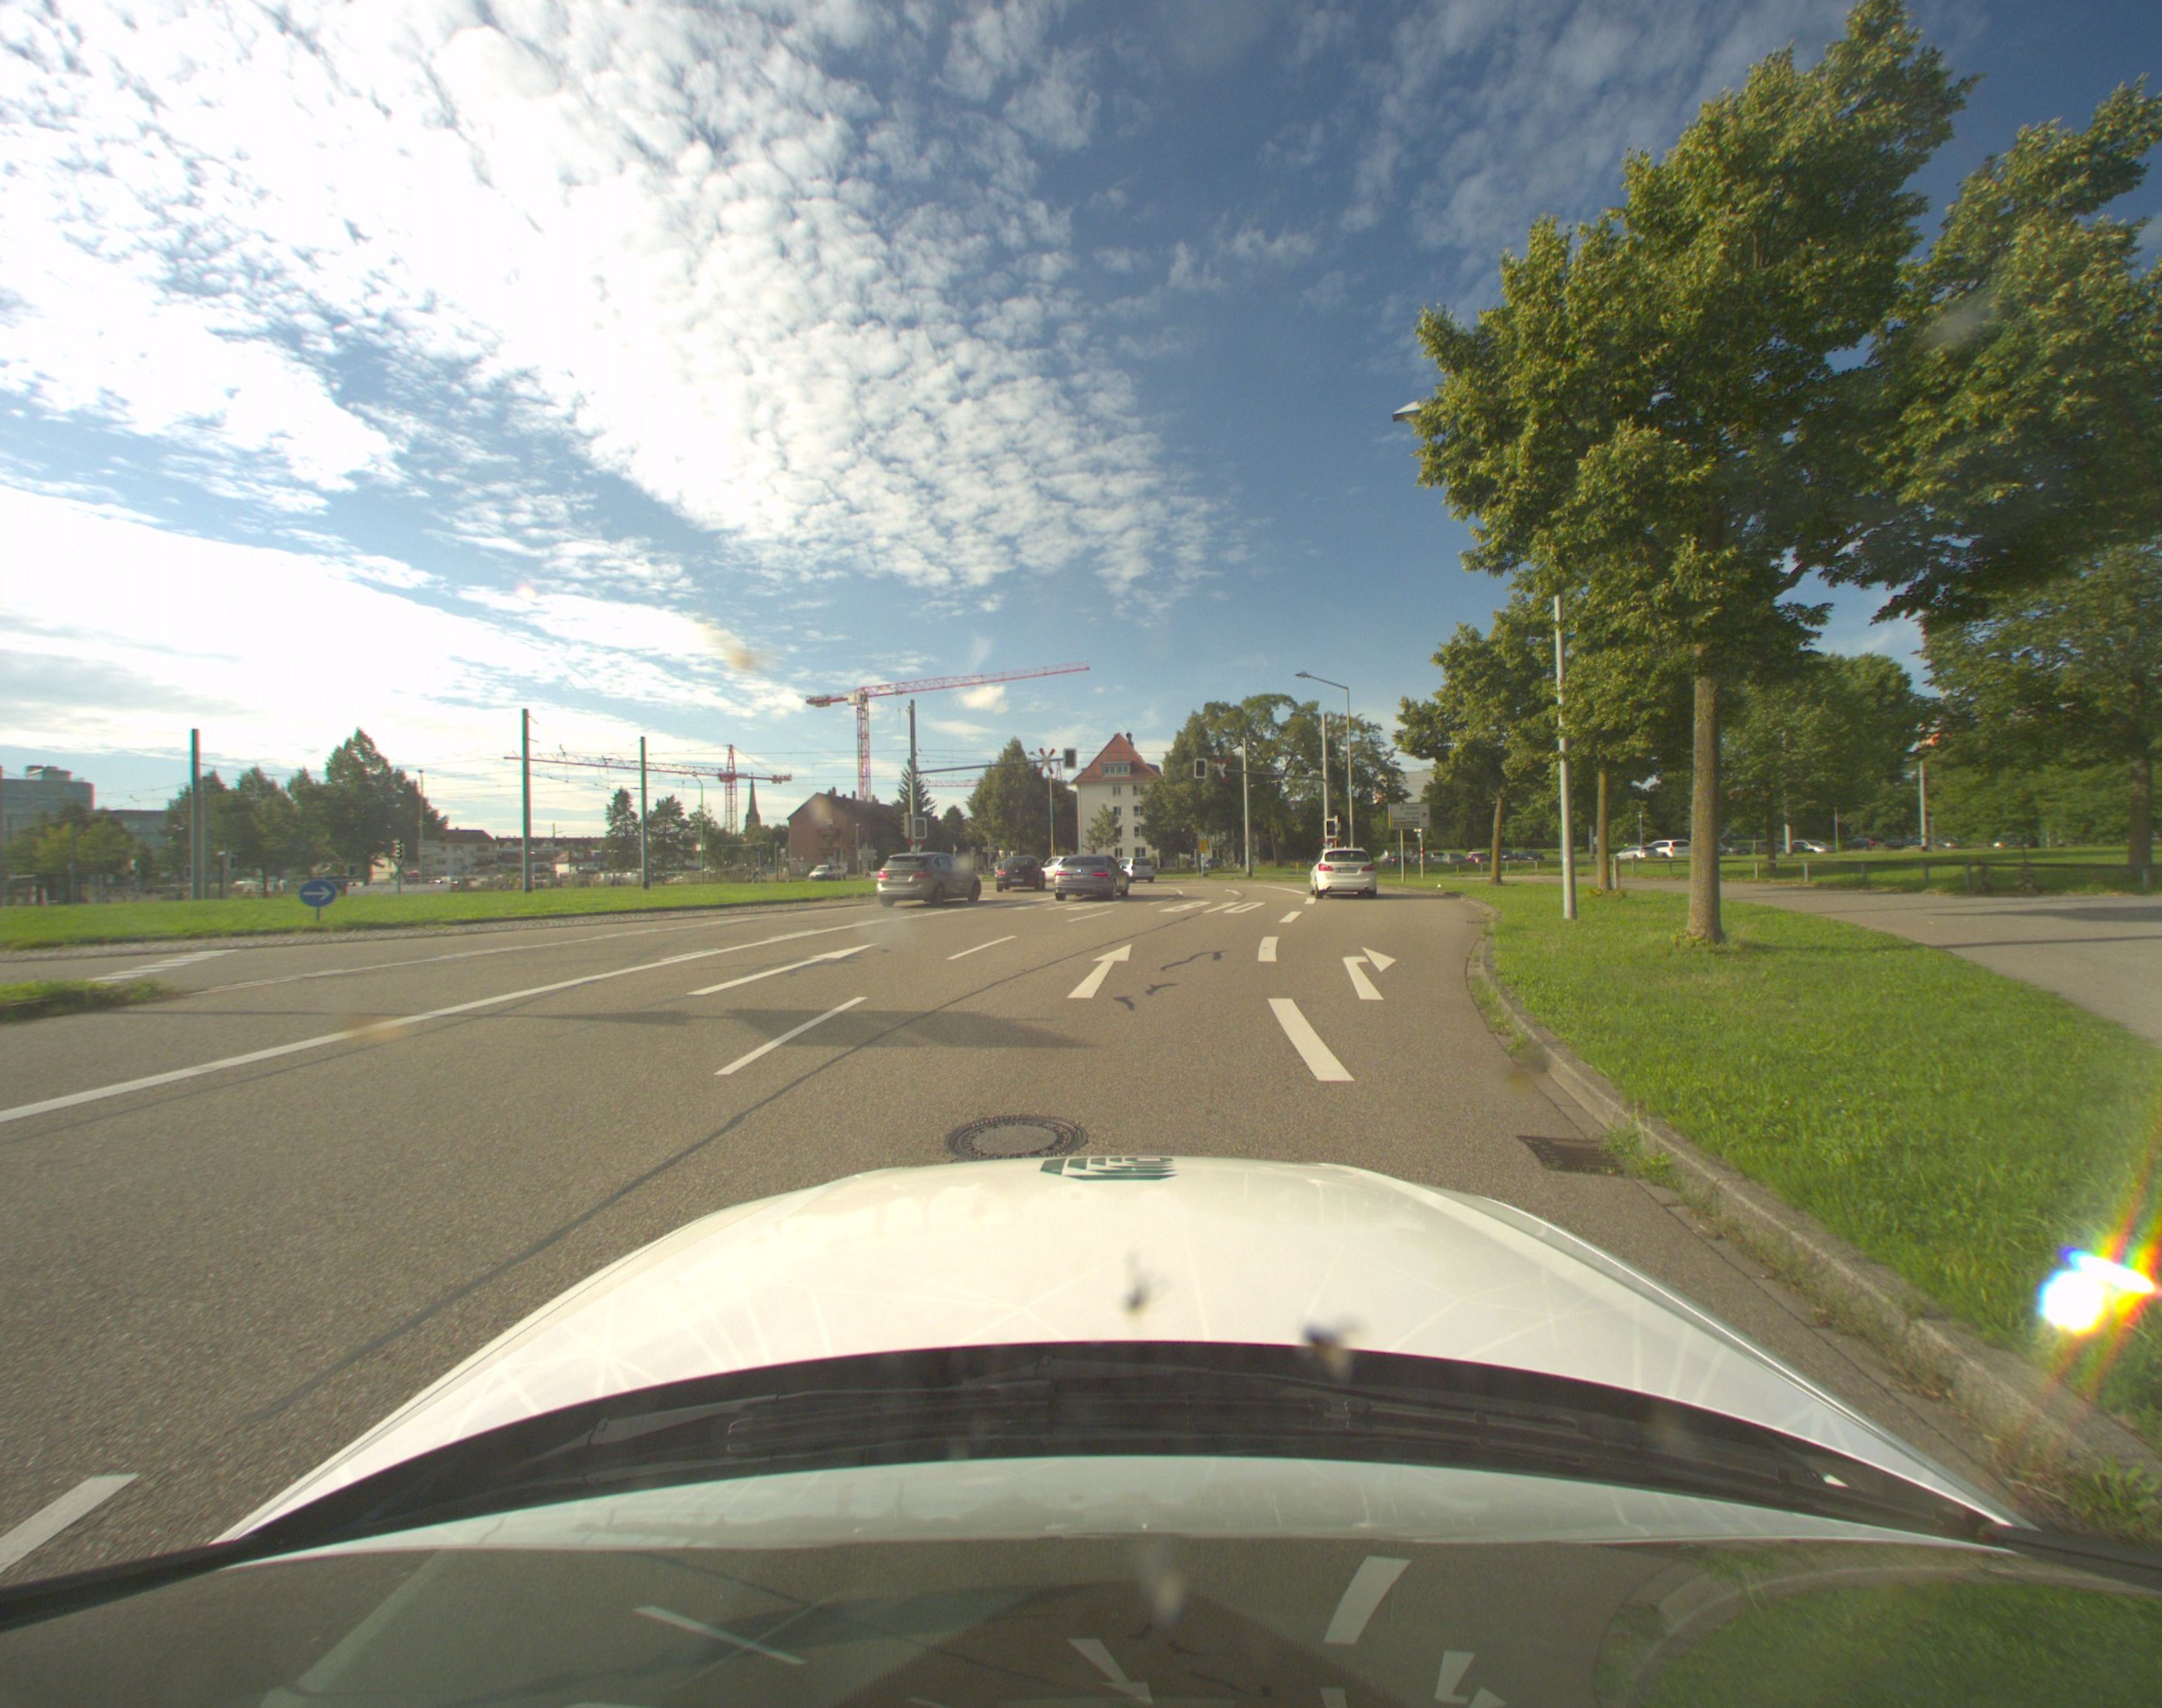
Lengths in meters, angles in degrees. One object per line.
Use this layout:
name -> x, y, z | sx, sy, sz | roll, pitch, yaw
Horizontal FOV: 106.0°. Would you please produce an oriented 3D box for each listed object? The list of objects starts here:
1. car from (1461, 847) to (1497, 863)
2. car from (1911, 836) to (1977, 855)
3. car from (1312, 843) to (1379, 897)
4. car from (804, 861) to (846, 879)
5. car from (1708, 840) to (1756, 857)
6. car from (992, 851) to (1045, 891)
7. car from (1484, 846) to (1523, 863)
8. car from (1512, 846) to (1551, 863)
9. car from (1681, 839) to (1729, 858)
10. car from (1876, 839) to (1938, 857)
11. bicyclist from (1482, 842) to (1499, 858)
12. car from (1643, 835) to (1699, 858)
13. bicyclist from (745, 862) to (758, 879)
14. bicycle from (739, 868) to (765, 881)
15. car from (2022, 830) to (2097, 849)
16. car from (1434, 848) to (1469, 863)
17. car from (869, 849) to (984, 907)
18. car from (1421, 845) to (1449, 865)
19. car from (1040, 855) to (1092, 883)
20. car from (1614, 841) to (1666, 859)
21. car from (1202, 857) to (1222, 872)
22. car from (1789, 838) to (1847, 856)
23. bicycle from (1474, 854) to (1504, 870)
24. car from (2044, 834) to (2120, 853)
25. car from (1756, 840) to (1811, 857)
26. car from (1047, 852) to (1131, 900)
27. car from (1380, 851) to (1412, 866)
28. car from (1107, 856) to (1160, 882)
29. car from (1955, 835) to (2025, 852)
car -> 38.259, 0.106, 78.303 | 1.844, 1.363, 4.480 | -2, -1, 9
car -> 77.509, -0.708, 73.256 | 1.841, 1.541, 4.484 | -2, -1, 12
car -> 8.531, 0.497, 26.037 | 1.835, 1.572, 4.477 | -1, -1, 20
car -> -27.504, 1.687, 87.603 | 1.881, 1.903, 4.682 | -1, -1, 18
car -> 60.238, -0.481, 75.435 | 2.014, 1.515, 4.130 | -2, -1, 17
car -> -2.559, 0.716, 34.160 | 1.988, 1.541, 3.997 | 0, -1, -1
car -> 40.335, 0.056, 77.842 | 1.844, 1.515, 4.957 | -2, -1, 9
car -> 42.933, 0.090, 77.736 | 1.844, 1.515, 4.480 | -2, -1, 9
car -> 58.084, -0.495, 75.883 | 2.080, 1.674, 4.488 | -2, -1, 17
car -> 75.022, -0.501, 74.045 | 1.785, 1.515, 4.484 | -2, -1, 12
bicyclist -> 33.941, -0.326, 67.454 | 1.006, 1.355, 0.709 | -2, -1, -23
car -> 55.019, -0.637, 76.110 | 2.294, 2.007, 5.130 | -2, -1, 12
bicyclist -> -32.223, 1.633, 79.723 | 0.958, 1.575, 0.769 | -2, 0, -12
bicycle -> -32.200, 1.975, 79.722 | 2.144, 1.137, 0.769 | -3, 0, -12
car -> 86.730, -1.254, 72.286 | 1.841, 1.541, 4.484 | -2, -1, 12
car -> 35.763, 0.185, 78.766 | 1.844, 1.358, 4.846 | -2, -1, 9
car -> -4.506, 0.689, 24.409 | 1.755, 1.572, 4.083 | -1, -1, 15
car -> 39.130, 0.140, 90.141 | 1.859, 2.014, 4.824 | 0, -1, 11
car -> -0.927, 0.850, 46.323 | 1.855, 1.478, 4.429 | 0, -1, -16
car -> 52.245, -0.322, 76.184 | 1.848, 1.515, 4.470 | -2, -1, 1
car -> 13.020, 1.071, 81.061 | 1.844, 1.381, 4.526 | -2, -1, 9
car -> 67.260, -0.597, 74.413 | 1.842, 1.504, 4.484 | -2, -1, 12
bicycle -> 33.684, 0.676, 67.253 | 2.531, 1.222, 0.709 | -2, -1, -23
car -> 89.100, -0.928, 72.561 | 1.841, 1.541, 4.484 | -2, -1, 12
car -> 64.607, -0.474, 75.001 | 1.842, 1.399, 4.484 | -2, -1, 12
car -> 0.380, 0.702, 26.845 | 1.838, 1.445, 4.730 | -1, -1, 12
car -> 30.493, 0.449, 78.961 | 1.844, 1.359, 4.745 | -2, -1, 9
car -> 3.011, 0.862, 47.757 | 1.853, 1.426, 4.432 | 0, -1, -14
car -> 81.400, -0.919, 73.020 | 1.841, 1.454, 4.484 | -2, -1, 12
